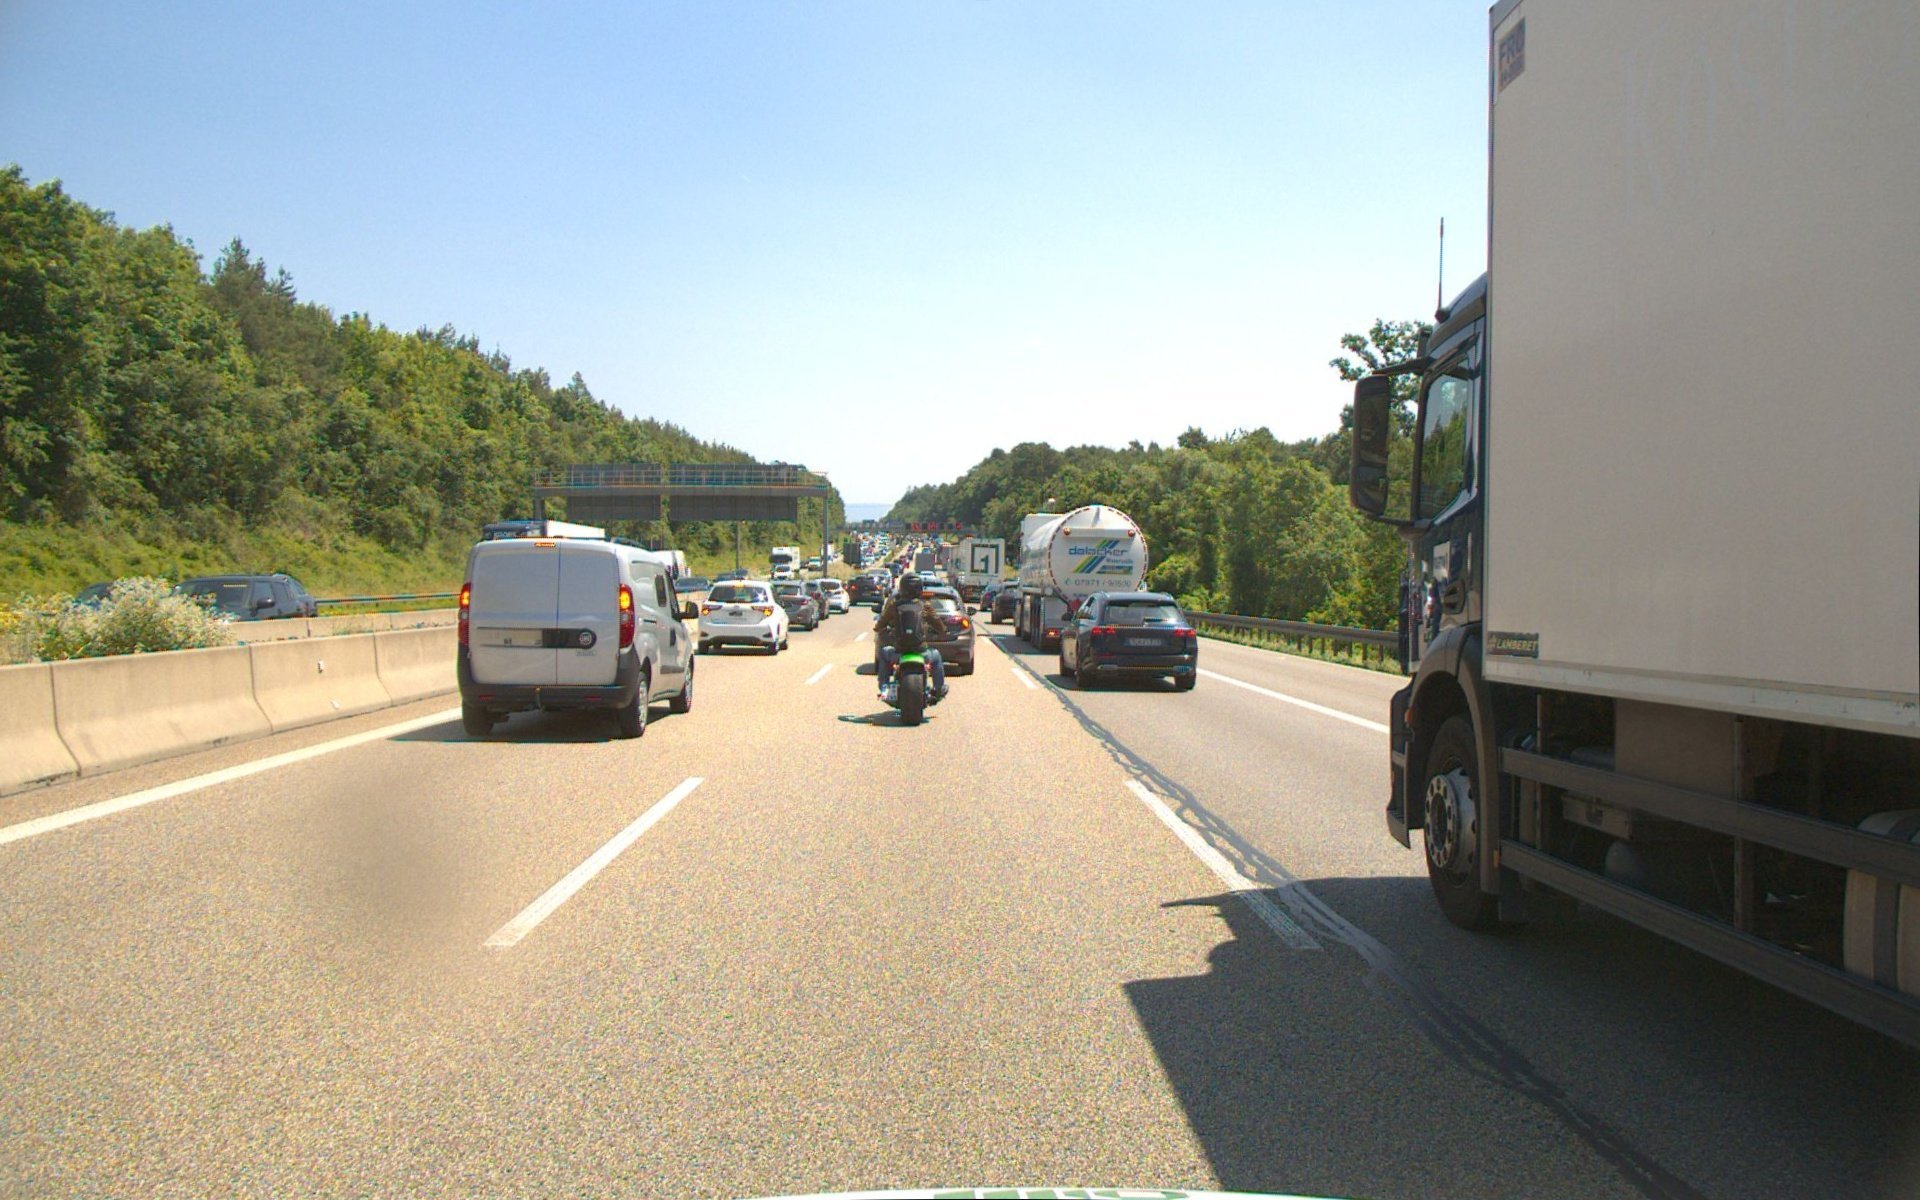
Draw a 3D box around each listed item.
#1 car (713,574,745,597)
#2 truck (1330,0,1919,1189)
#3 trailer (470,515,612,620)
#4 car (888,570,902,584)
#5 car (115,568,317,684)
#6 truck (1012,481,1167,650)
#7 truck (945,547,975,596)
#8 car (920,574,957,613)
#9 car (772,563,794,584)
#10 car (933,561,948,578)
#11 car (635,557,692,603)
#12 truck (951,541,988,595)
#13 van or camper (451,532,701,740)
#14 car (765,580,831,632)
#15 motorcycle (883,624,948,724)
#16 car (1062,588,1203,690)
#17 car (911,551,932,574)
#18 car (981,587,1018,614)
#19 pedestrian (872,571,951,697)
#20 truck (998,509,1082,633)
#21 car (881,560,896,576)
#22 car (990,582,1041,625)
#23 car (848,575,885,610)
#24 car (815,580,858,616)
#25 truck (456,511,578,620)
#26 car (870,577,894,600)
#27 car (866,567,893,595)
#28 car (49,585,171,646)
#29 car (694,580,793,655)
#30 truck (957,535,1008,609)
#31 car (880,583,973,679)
[{"bbox_3d":[-16.626,-1.079,119.143,1.842,1.621,3.999,0,1,-1],"label":"car"},{"bbox_3d":[3.526,-0.624,4.308,2.634,3.943,9.778,-3,0,-1],"label":"truck"},{"bbox_3d":[-20.287,-1.450,81.228,3.649,4.607,13.327,-2,0,-1],"label":"trailer"},{"bbox_3d":[-9.270,-3.245,235.186,1.953,2.049,3.999,0,1,-1],"label":"car"},{"bbox_3d":[-11.692,0.386,26.236,1.609,1.655,3.542,-2,0,-1],"label":"car"},{"bbox_3d":[3.100,-0.767,42.271,2.927,3.735,9.285,-2,0,-1],"label":"truck"},{"bbox_3d":[-0.044,-3.078,180.117,2.972,5.229,9.980,1,1,-1],"label":"truck"},{"bbox_3d":[-1.199,-0.336,92.480,1.953,2.049,3.999,-2,0,-1],"label":"car"},{"bbox_3d":[-18.527,-2.735,173.194,1.842,2.048,4.467,-3,0,-1],"label":"car"},{"bbox_3d":[-2.542,-4.002,214.853,1.953,2.049,3.999,-2,0,-1],"label":"car"},{"bbox_3d":[-16.339,-1.095,91.455,1.953,2.418,7.363,0,1,-1],"label":"car"},{"bbox_3d":[0.794,-2.858,149.326,2.972,4.621,9.980,1,1,-1],"label":"truck"},{"bbox_3d":[-3.891,0.343,17.463,1.759,1.925,4.158,0,0,-2],"label":"van or camper"},{"bbox_3d":[-4.822,0.151,49.771,1.665,1.504,3.999,0,1,-1],"label":"car"},{"bbox_3d":[-0.486,0.819,18.936,0.677,1.033,2.121,0,0,0],"label":"motorcycle"},{"bbox_3d":[2.709,0.566,26.771,1.791,1.496,3.999,1,1,-1],"label":"car"},{"bbox_3d":[-4.517,-4.428,196.154,2.453,2.632,5.015,0,1,-1],"label":"car"},{"bbox_3d":[2.040,0.005,86.572,1.751,1.398,3.802,0,1,-1],"label":"car"},{"bbox_3d":[-0.547,0.381,19.014,0.832,1.385,0.961,-2,0,0],"label":"pedestrian"},{"bbox_3d":[2.410,-0.834,51.015,1.954,3.584,4.748,-2,0,-3],"label":"truck"},{"bbox_3d":[-9.281,-4.099,214.714,1.953,2.049,3.999,0,1,-1],"label":"car"},{"bbox_3d":[2.112,0.107,63.859,1.751,1.583,3.802,0,1,-1],"label":"car"},{"bbox_3d":[-5.117,-0.418,90.460,1.842,1.892,3.999,0,1,-1],"label":"car"},{"bbox_3d":[-5.408,-0.112,72.879,1.665,1.504,3.999,0,1,-1],"label":"car"},{"bbox_3d":[-20.202,-1.484,75.903,3.650,4.607,7.323,-2,0,-2],"label":"truck"},{"bbox_3d":[-7.165,-1.059,152.173,1.953,2.049,3.999,-2,0,-1],"label":"car"},{"bbox_3d":[-6.170,-1.446,127.515,1.890,2.049,3.999,-2,0,-1],"label":"car"},{"bbox_3d":[-22.729,0.383,44.361,1.381,1.534,3.706,0,1,-1],"label":"car"},{"bbox_3d":[-4.568,0.326,35.414,1.665,1.504,3.999,0,1,-1],"label":"car"},{"bbox_3d":[1.418,-1.815,109.630,2.972,4.621,9.980,1,1,-1],"label":"truck"},{"bbox_3d":[-0.628,0.508,29.644,1.502,1.536,3.999,-2,0,-2],"label":"car"}]
